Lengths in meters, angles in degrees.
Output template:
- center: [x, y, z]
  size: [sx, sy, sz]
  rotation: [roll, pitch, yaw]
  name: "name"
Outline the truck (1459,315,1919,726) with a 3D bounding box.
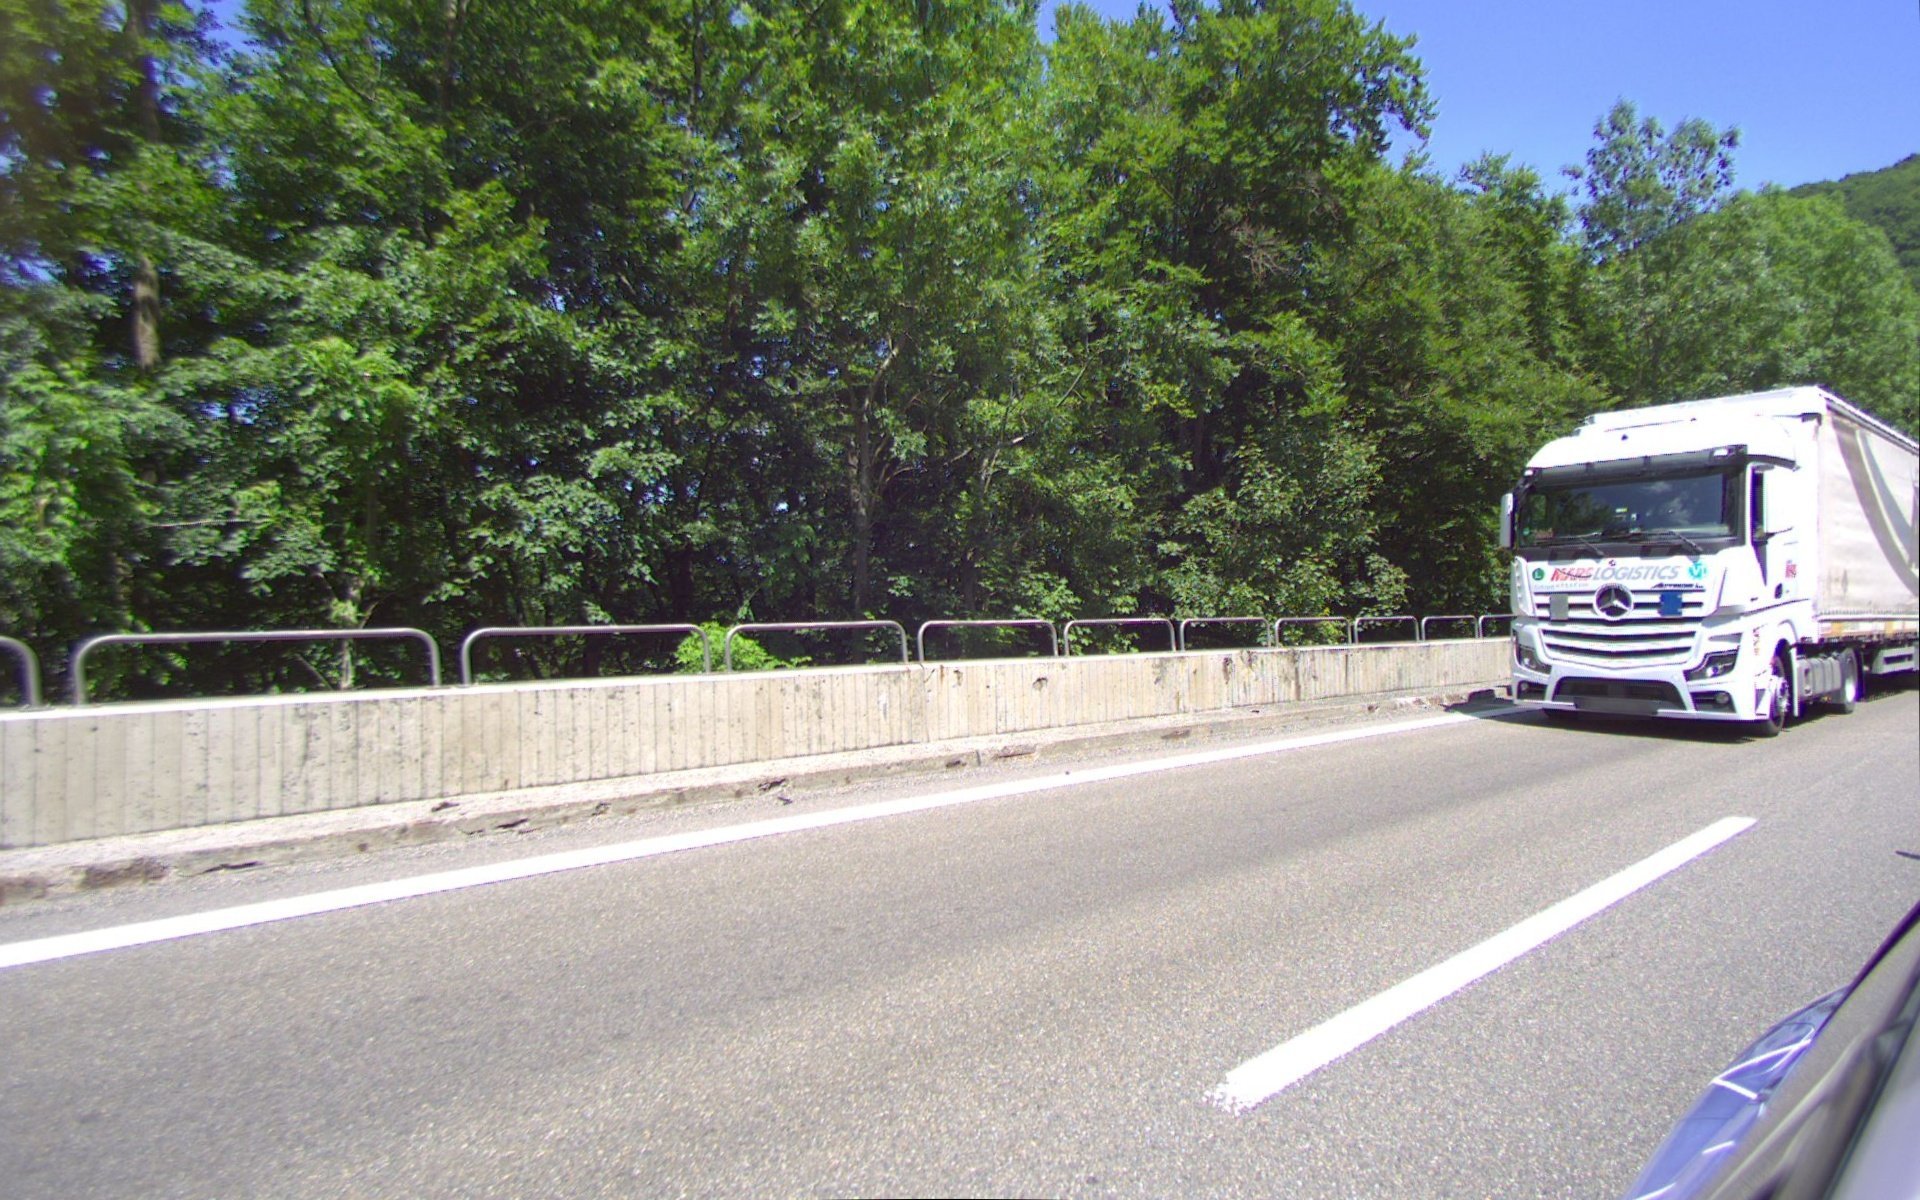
- center: [13.809, -0.991, 16.525]
  size: [16.401, 4.180, 2.972]
  rotation: [0, 6, -38]
  name: "truck"
